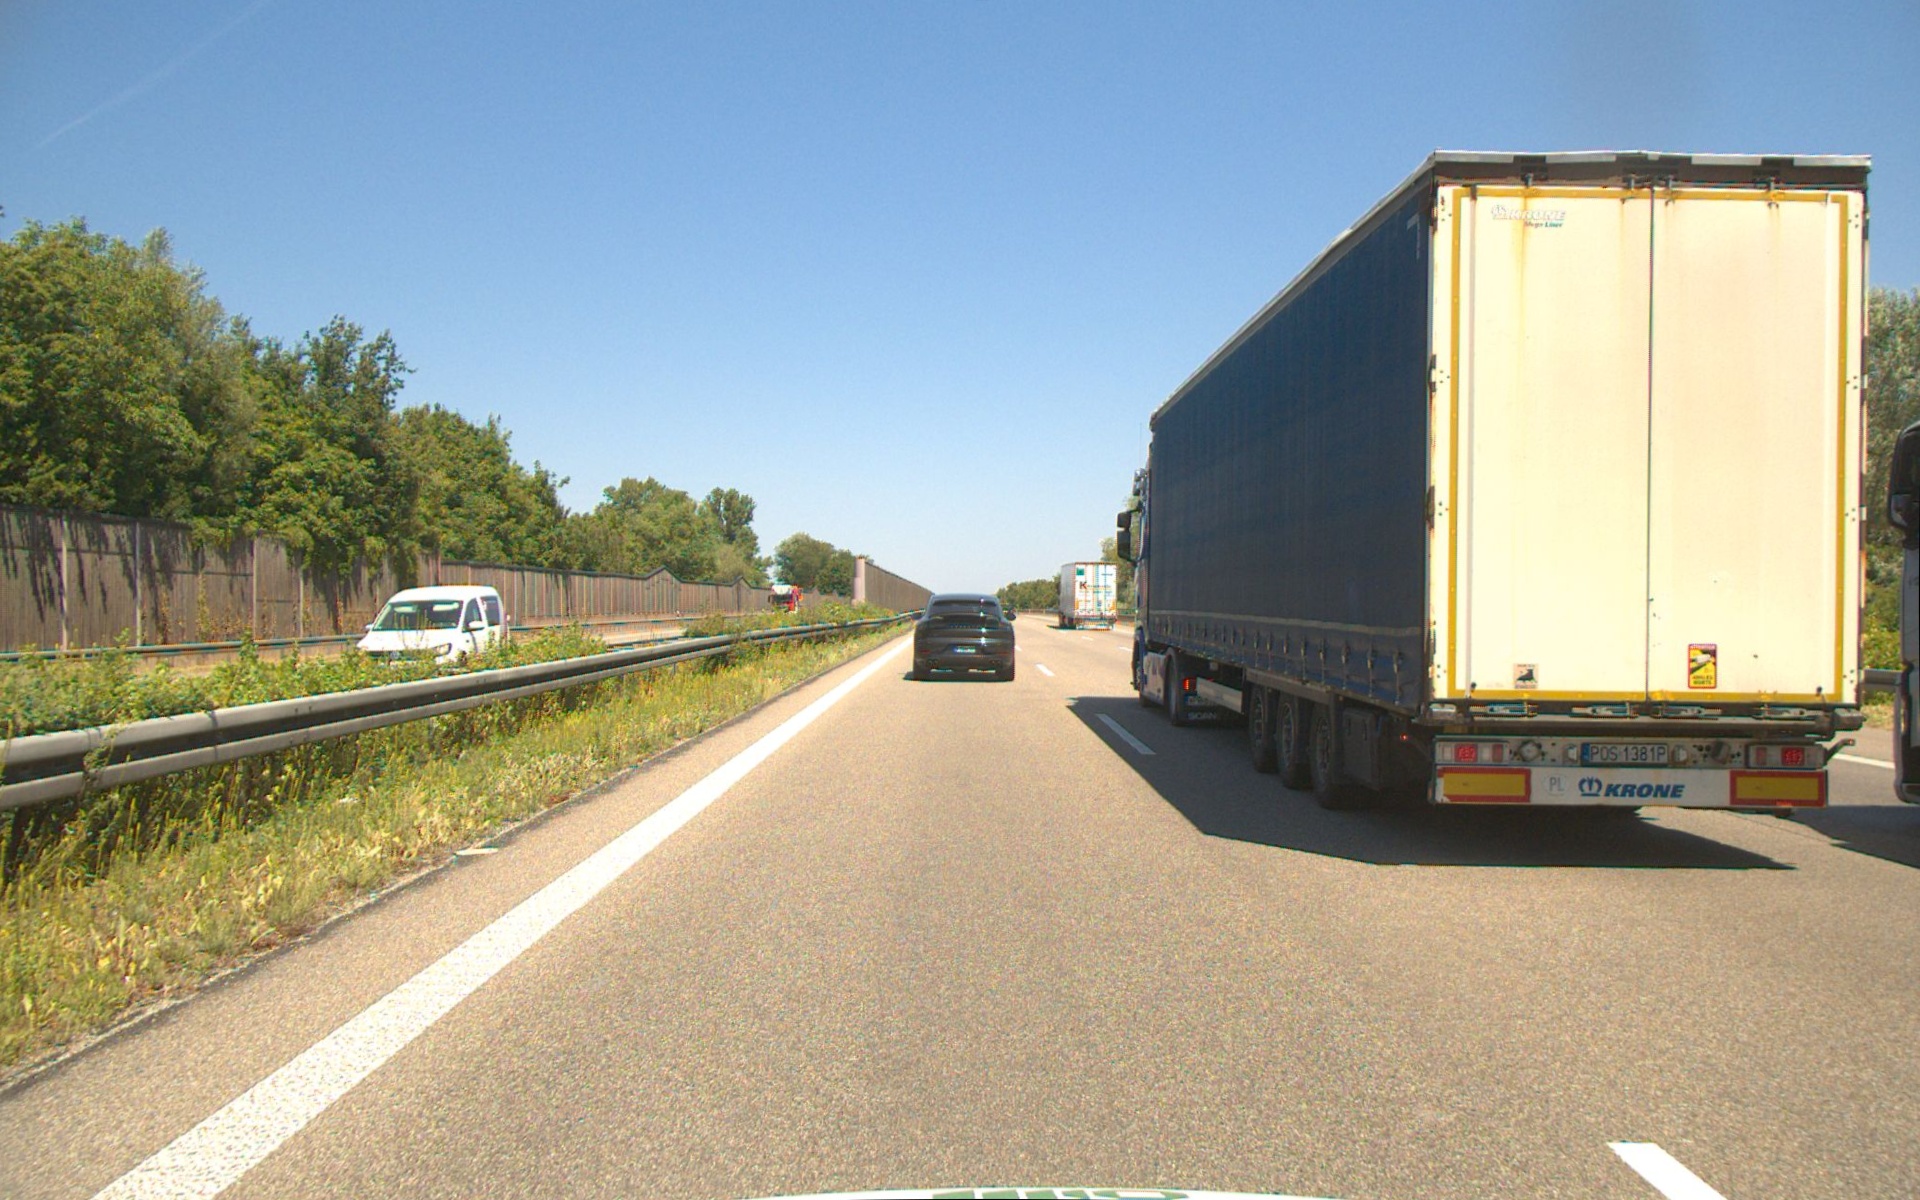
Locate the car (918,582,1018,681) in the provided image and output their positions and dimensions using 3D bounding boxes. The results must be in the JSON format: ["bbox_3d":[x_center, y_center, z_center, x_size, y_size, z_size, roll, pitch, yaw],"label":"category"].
[{"bbox_3d":[0.102,0.584,32.675,1.842,1.823,3.999,1,0,-1],"label":"car"}]

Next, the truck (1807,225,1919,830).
[{"bbox_3d":[8.001,-0.497,9.426,2.645,4.190,6.989,1,0,-1],"label":"truck"}]

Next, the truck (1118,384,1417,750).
[{"bbox_3d":[3.896,-0.366,22.649,2.645,4.190,6.989,1,0,-1],"label":"truck"}]

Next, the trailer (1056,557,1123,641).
[{"bbox_3d":[8.068,-0.002,105.117,3.202,4.922,14.028,1,0,0],"label":"trailer"}]

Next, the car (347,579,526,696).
[{"bbox_3d":[-9.058,0.605,29.013,1.746,1.873,4.558,-1,0,-1],"label":"car"}]

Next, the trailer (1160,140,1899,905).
[{"bbox_3d":[3.892,-0.402,15.221,2.645,4.190,12.131,1,0,0],"label":"trailer"}]

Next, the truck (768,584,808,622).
[{"bbox_3d":[-16.836,0.298,162.591,2.644,3.553,10.853,1,0,0],"label":"truck"}]

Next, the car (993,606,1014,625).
[{"bbox_3d":[3.957,1.425,150.377,1.864,1.612,4.303,0,-1,0],"label":"car"}]
